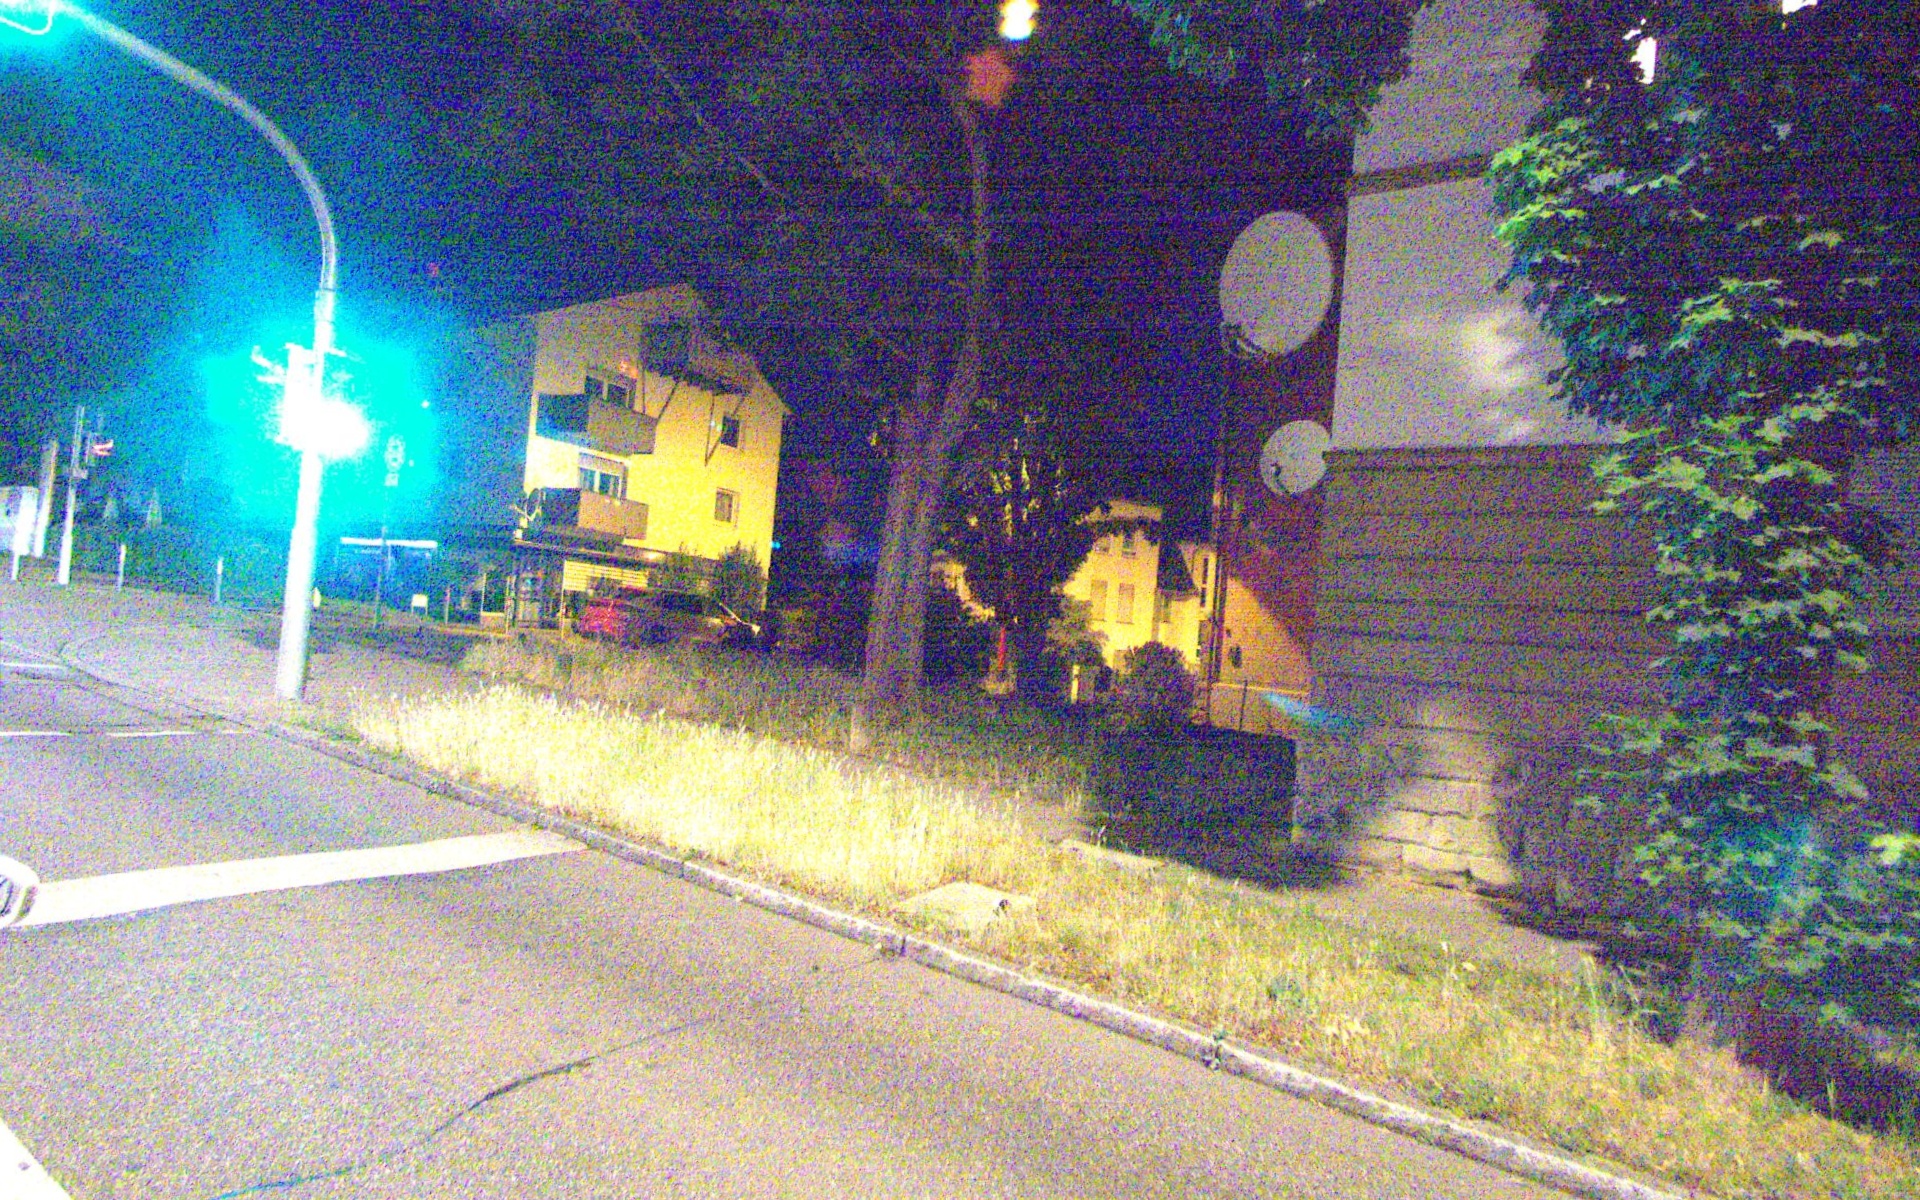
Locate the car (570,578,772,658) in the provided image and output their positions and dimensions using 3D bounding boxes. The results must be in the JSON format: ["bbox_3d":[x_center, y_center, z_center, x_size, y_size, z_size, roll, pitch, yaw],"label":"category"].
[{"bbox_3d":[-6.548,0.458,23.174,1.740,1.295,4.131,6,-3,39],"label":"car"}]
